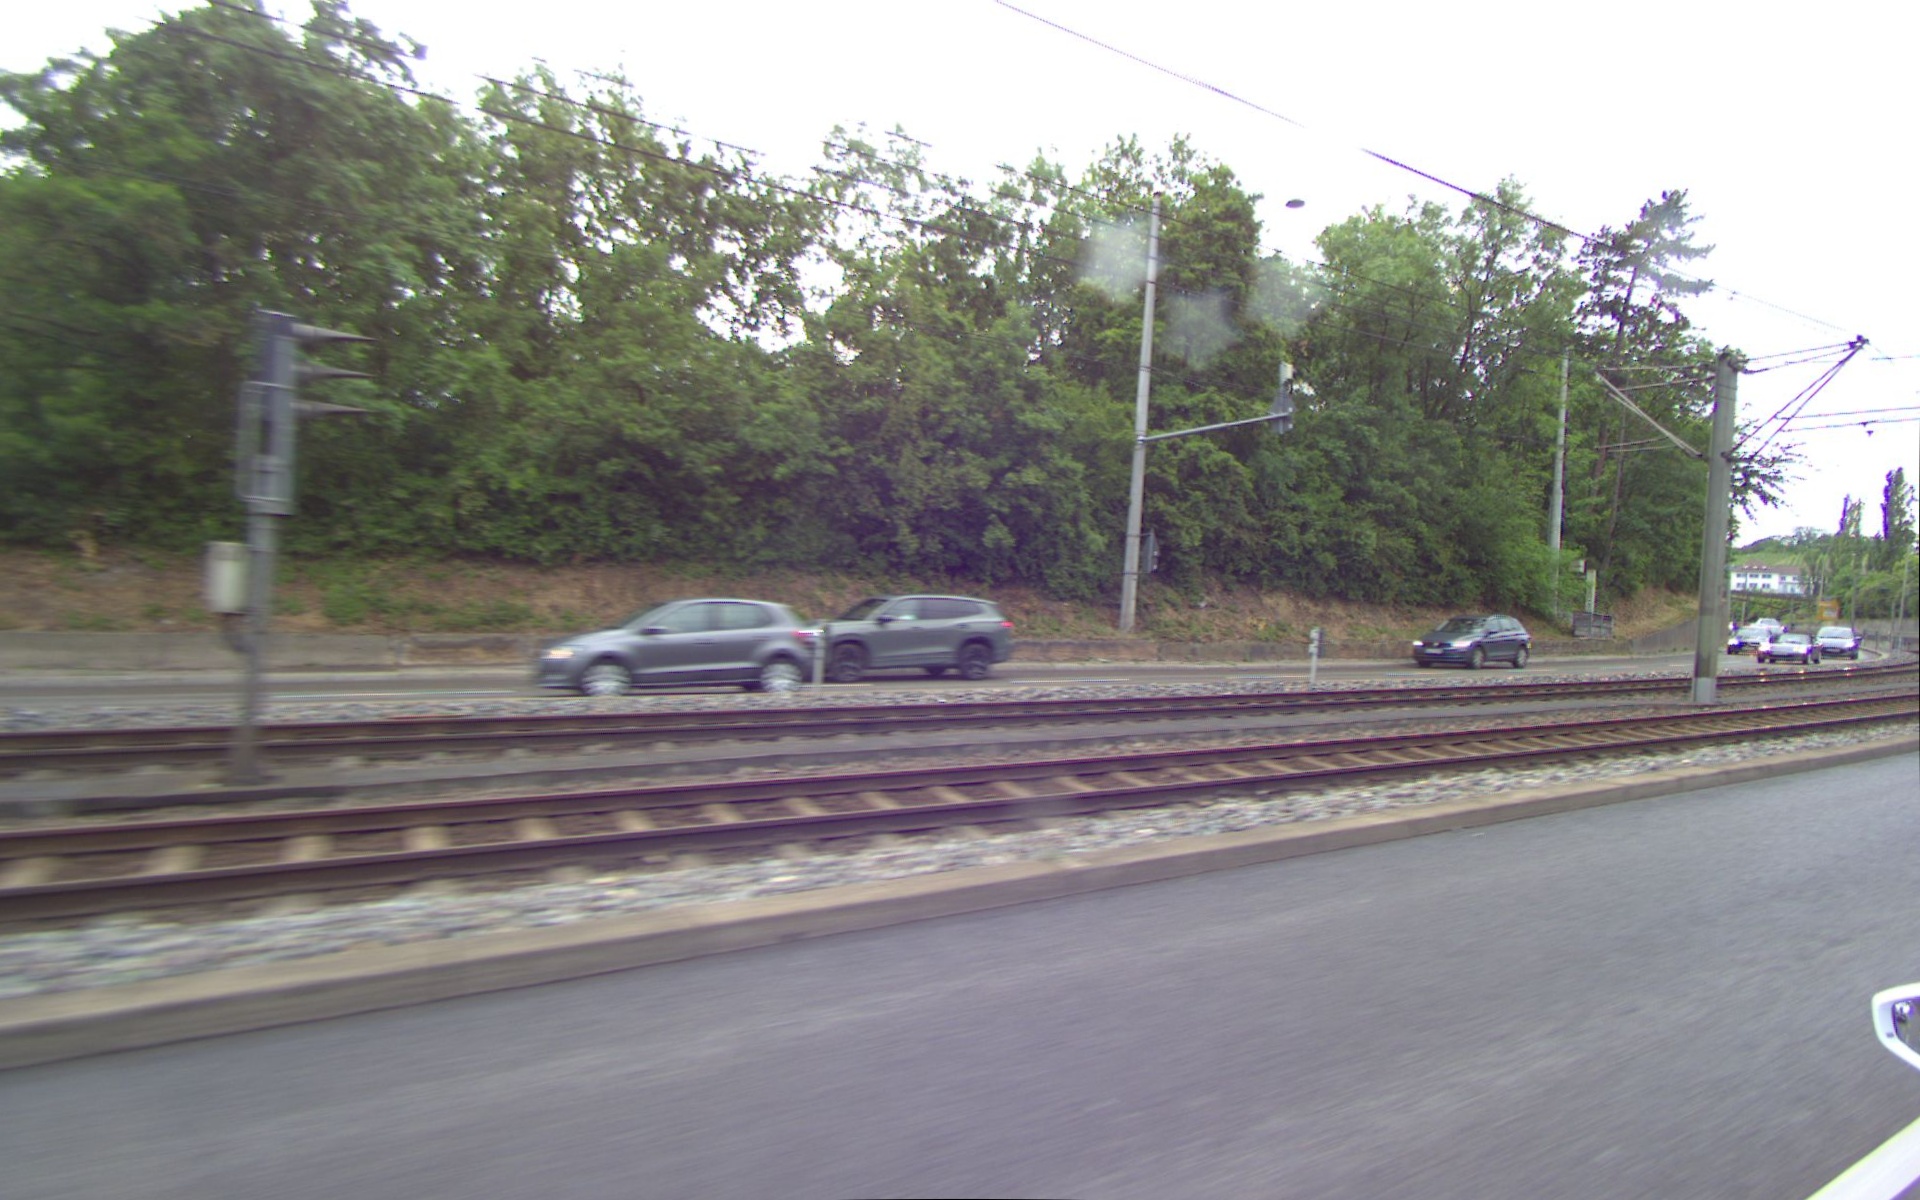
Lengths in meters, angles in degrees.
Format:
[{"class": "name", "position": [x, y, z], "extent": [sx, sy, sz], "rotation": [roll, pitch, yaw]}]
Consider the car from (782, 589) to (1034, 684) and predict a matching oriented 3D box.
[{"class": "car", "position": [-0.973, 0.700, 19.817], "extent": [4.686, 1.692, 1.775], "rotation": [1, 0, -31]}]

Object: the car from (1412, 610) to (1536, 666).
[{"class": "car", "position": [15.943, 1.154, 31.103], "extent": [4.370, 1.629, 1.695], "rotation": [2, -2, -37]}]

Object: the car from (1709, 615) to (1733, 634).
[{"class": "car", "position": [86.405, 2.752, 114.056], "extent": [1.970, 2.040, 3.982], "rotation": [2, 0, 39]}]

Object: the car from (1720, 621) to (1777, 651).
[{"class": "car", "position": [41.297, 1.885, 52.591], "extent": [4.629, 1.481, 1.798], "rotation": [2, -1, -45]}]

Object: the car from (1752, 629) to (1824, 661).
[{"class": "car", "position": [33.766, 1.823, 40.925], "extent": [3.926, 1.274, 1.531], "rotation": [2, -2, -39]}]

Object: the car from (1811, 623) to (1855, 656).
[{"class": "car", "position": [42.372, 1.909, 48.733], "extent": [1.521, 1.511, 3.602], "rotation": [-2, -3, 42]}]

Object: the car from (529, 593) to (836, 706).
[{"class": "car", "position": [-3.989, 0.682, 14.557], "extent": [3.984, 1.433, 1.698], "rotation": [2, 0, -30]}]
